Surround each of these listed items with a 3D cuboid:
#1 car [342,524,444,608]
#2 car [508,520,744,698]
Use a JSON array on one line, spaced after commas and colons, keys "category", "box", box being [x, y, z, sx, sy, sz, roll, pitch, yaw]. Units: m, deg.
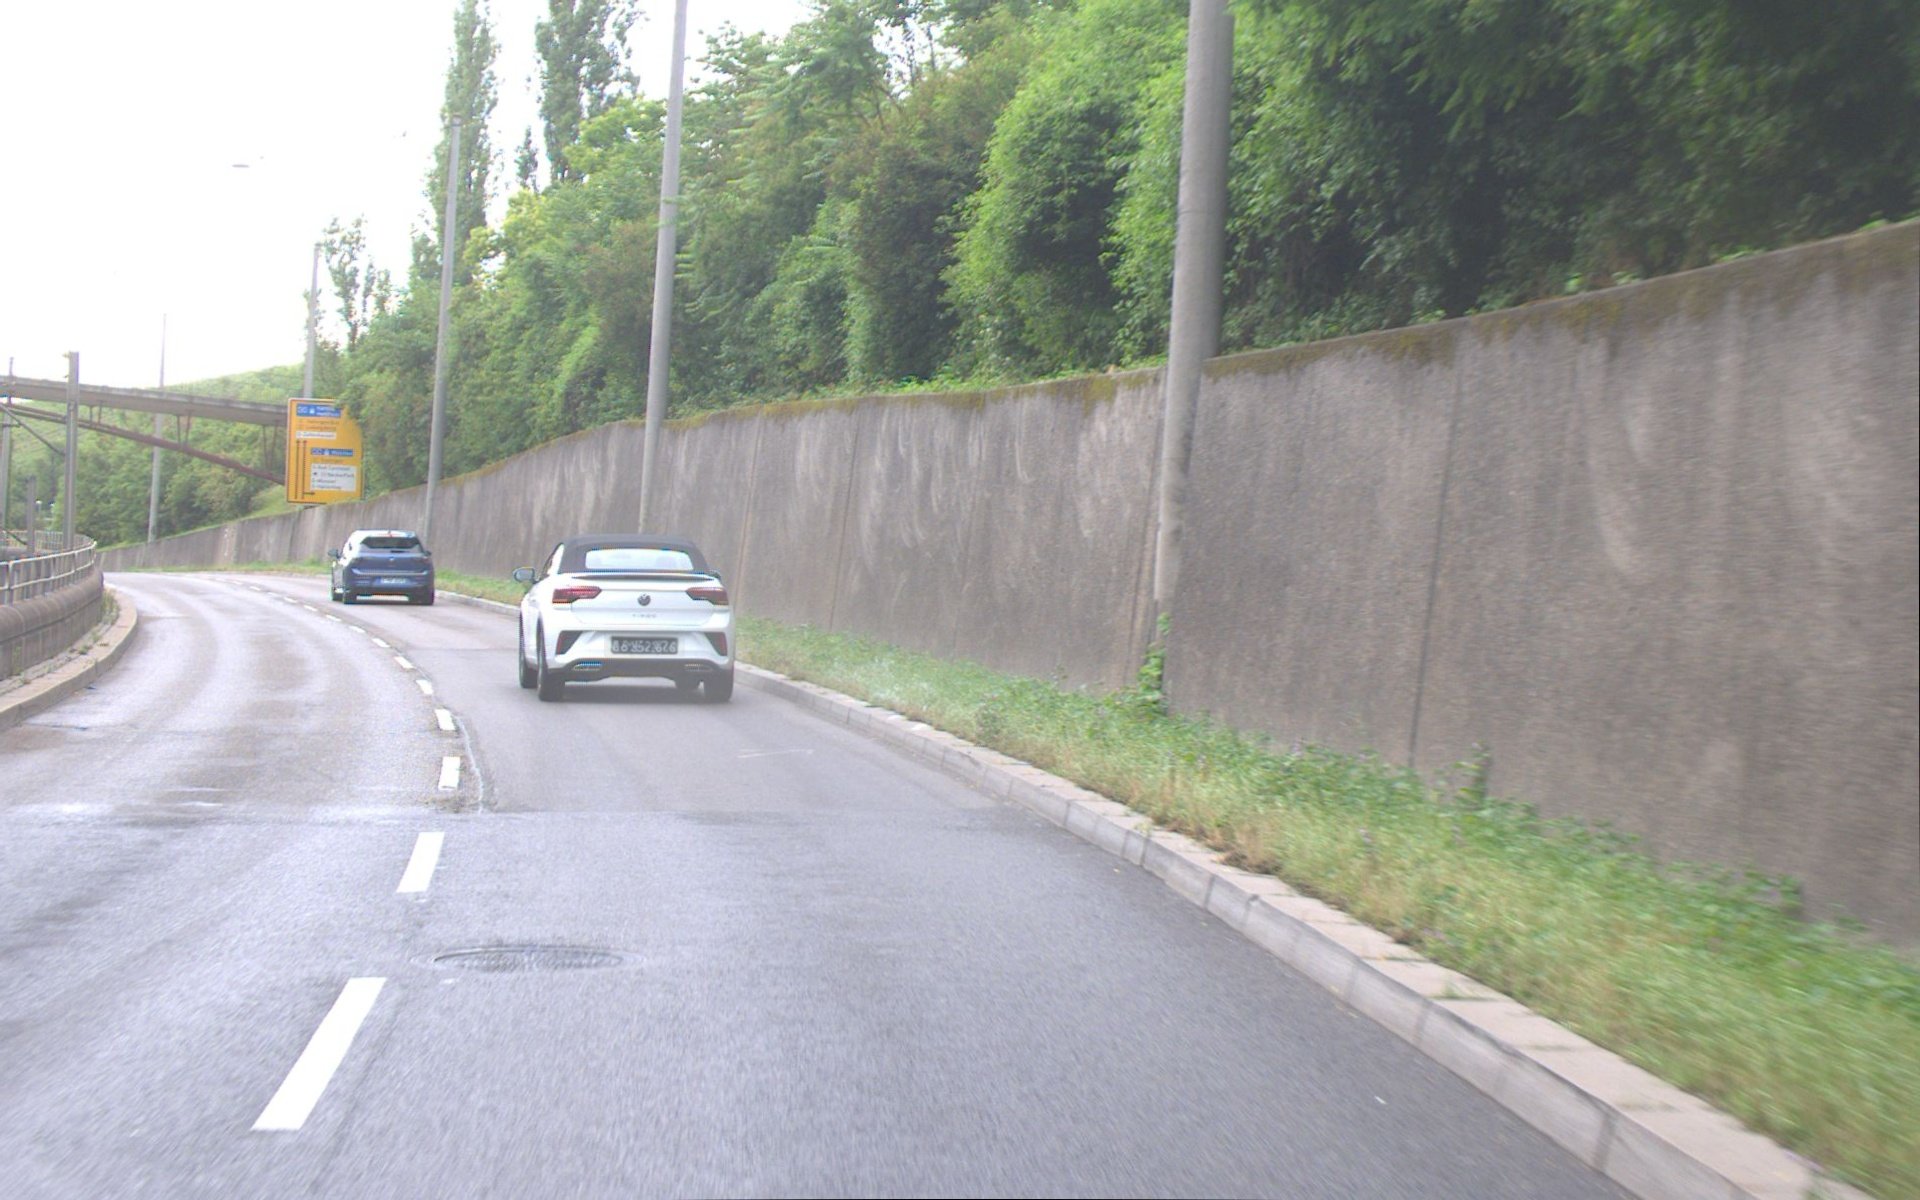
[{"category": "car", "box": [-11.267, -0.696, 68.361, 1.926, 1.594, 4.063, 0, 1, -9]}, {"category": "car", "box": [-3.238, 0.045, 32.658, 1.995, 1.573, 4.127, 0, 1, -9]}]
